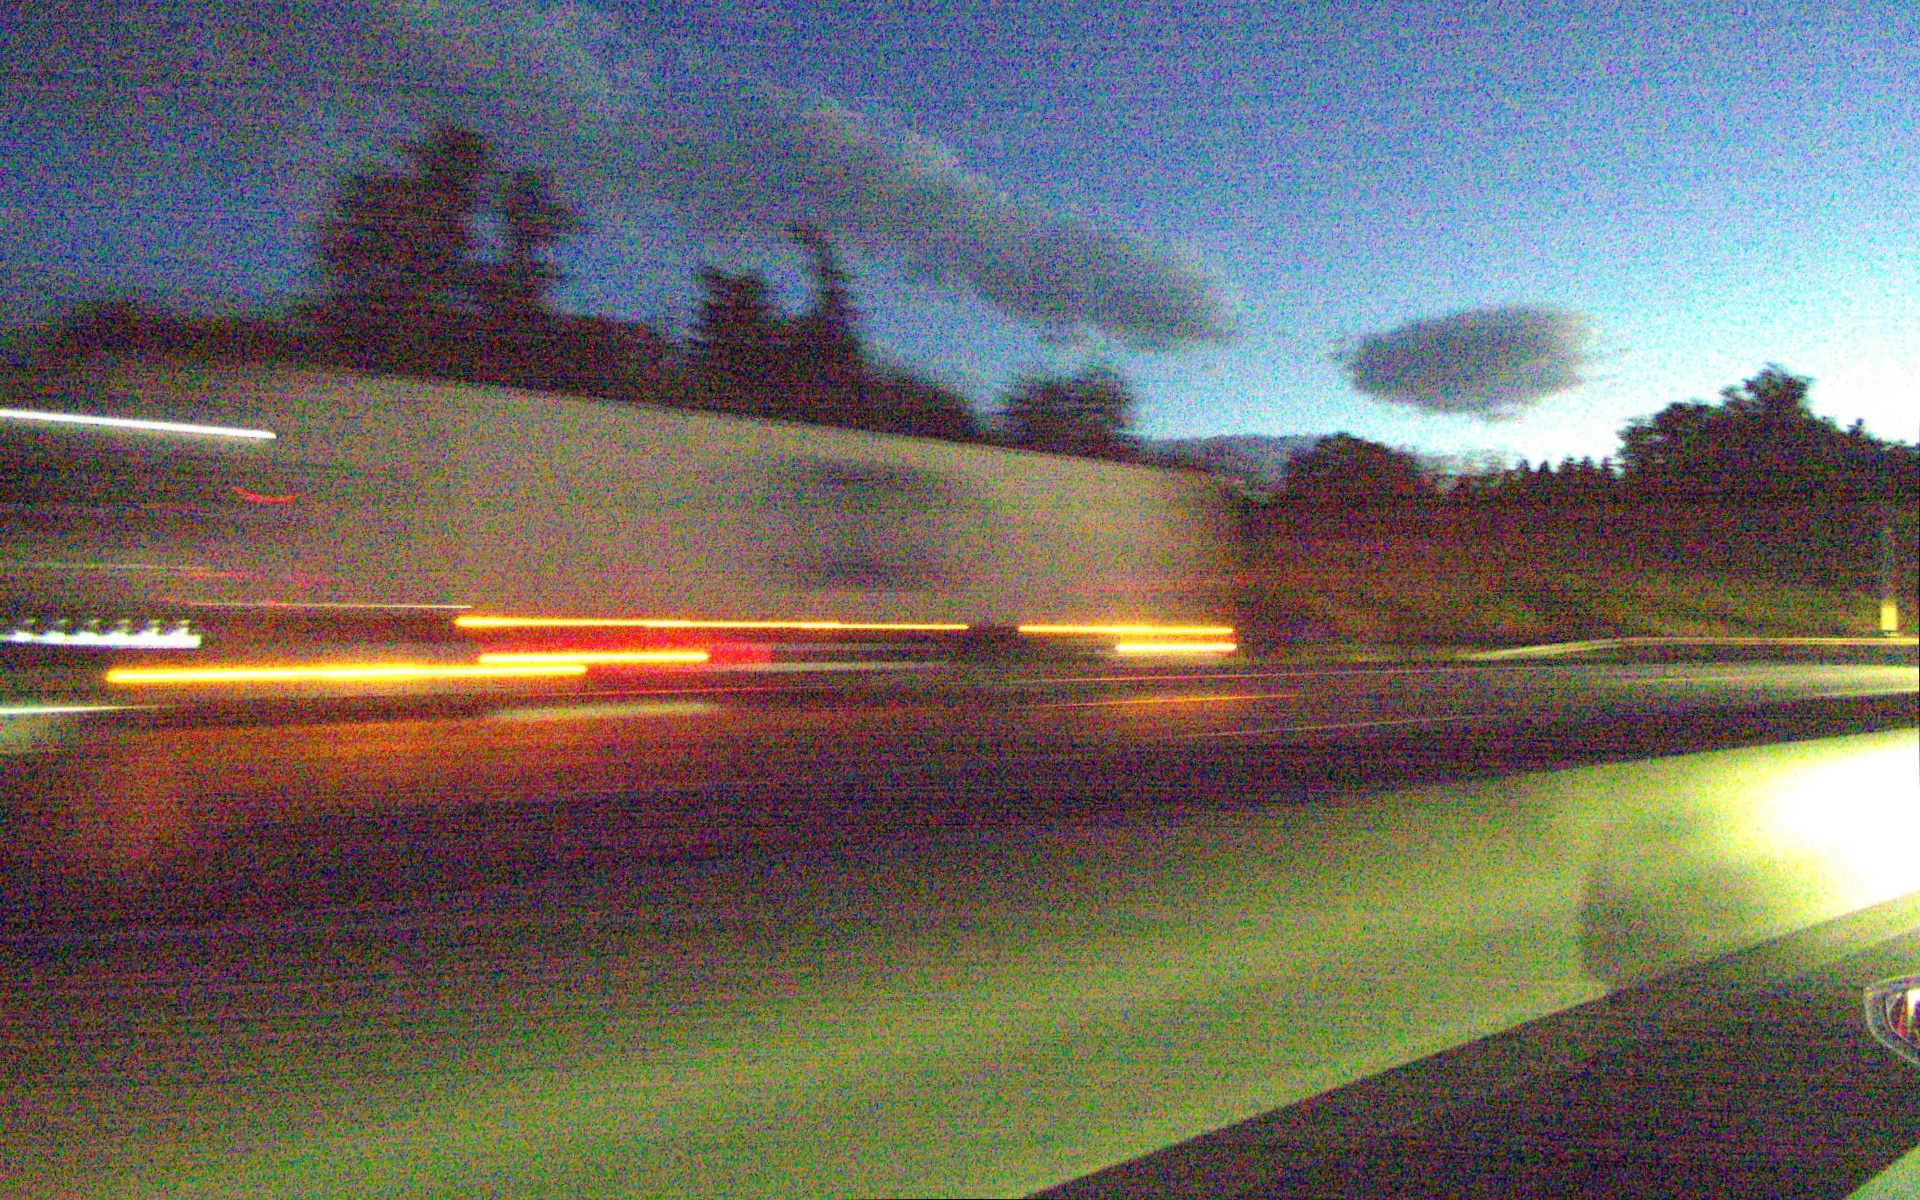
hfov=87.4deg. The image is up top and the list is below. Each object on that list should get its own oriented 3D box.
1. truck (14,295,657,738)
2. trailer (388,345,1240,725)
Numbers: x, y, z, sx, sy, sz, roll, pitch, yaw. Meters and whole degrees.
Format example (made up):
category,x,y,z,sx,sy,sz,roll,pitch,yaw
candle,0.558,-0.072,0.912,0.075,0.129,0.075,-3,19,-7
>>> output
category,x,y,z,sx,sy,sz,roll,pitch,yaw
truck,-7.509,-0.783,13.019,6.321,4.492,2.839,1,0,-30
trailer,-1.449,-0.615,16.597,13.817,4.492,2.838,2,0,-30
